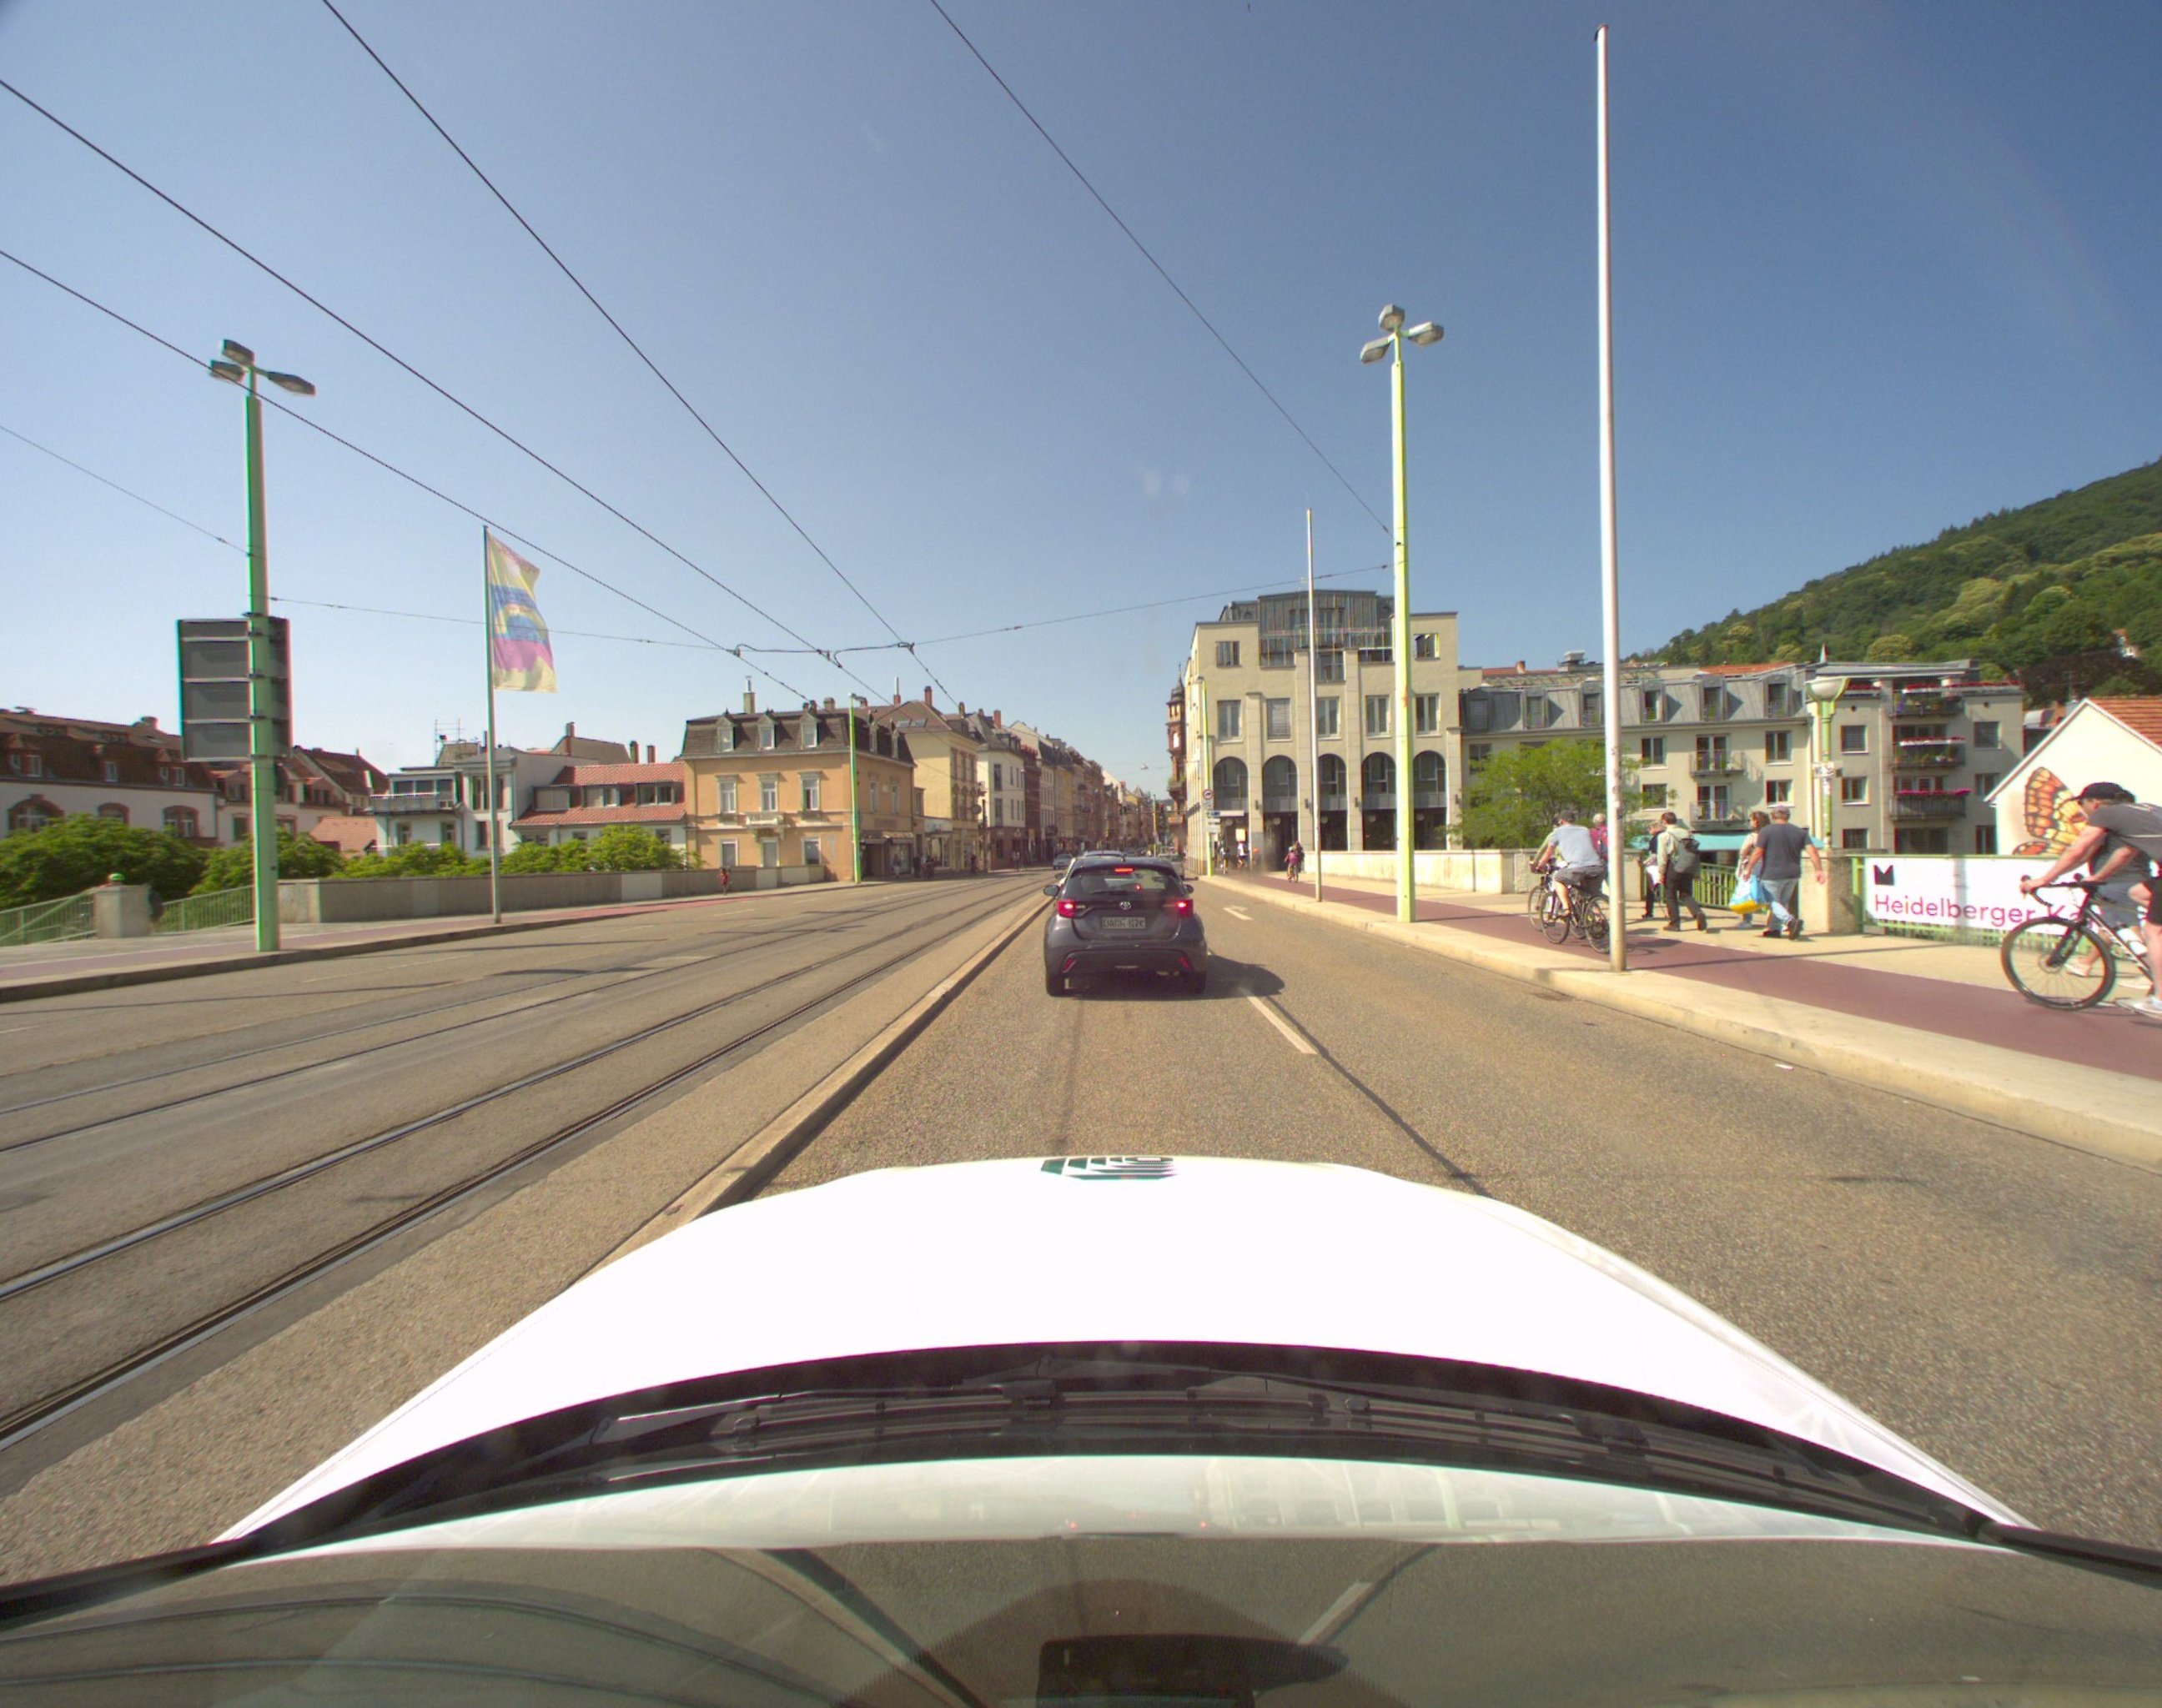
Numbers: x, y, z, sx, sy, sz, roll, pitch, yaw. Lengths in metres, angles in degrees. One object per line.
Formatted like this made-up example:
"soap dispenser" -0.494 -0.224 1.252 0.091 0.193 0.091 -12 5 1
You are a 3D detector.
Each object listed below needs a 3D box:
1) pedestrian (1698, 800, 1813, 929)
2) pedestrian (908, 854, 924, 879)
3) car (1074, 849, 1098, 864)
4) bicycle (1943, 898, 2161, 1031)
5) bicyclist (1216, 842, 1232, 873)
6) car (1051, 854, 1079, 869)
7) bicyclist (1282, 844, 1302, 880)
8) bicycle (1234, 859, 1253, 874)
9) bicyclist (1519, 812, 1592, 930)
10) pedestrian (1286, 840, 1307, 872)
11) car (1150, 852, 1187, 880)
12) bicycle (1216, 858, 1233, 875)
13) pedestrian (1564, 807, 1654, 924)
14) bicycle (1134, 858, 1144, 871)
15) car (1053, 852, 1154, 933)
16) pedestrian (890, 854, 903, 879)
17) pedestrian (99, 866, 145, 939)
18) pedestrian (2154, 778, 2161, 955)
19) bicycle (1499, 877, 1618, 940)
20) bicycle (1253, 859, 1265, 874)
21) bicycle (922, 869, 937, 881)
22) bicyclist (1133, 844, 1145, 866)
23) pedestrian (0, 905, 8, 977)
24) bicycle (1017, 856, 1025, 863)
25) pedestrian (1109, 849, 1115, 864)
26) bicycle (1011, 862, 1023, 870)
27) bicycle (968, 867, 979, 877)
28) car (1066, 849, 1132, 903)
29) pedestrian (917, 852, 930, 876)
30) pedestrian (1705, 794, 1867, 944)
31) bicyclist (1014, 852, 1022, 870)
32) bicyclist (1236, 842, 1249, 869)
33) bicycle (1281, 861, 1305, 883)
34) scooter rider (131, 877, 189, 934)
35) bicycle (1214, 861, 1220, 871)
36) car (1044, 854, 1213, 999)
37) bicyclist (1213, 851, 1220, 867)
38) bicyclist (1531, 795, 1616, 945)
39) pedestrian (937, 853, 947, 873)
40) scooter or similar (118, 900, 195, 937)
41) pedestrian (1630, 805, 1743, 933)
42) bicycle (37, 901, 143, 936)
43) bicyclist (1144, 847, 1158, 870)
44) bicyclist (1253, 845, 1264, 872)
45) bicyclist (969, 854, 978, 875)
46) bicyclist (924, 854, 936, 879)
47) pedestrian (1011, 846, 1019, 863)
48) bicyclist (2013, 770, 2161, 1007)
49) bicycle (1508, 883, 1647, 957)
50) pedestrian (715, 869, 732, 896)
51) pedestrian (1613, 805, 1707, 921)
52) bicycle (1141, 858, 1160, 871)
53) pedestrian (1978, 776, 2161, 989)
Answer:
"pedestrian" 9.658 0.145 11.712 0.736 1.746 1.016 -3 0 1
"pedestrian" -11.419 0.843 56.375 0.757 1.654 0.713 3 0 10
"car" 0.583 0.259 93.742 1.981 1.586 4.665 -2 0 10
"bicycle" 7.307 0.753 5.689 0.592 0.765 1.830 -3 0 -1
"bicyclist" 8.018 0.197 45.793 0.699 1.695 0.925 -2 0 2
"car" -1.548 0.712 79.650 1.720 1.460 4.387 -2 0 11
"bicyclist" 8.183 0.305 31.636 0.532 1.383 0.669 -3 0 1
"bicycle" 9.000 0.689 45.228 0.420 0.765 0.951 -3 0 -37
"bicyclist" 6.920 0.235 11.912 0.585 1.650 0.702 -3 0 -1
"pedestrian" 11.119 0.095 42.033 0.736 1.615 1.016 3 0 1
"car" 4.870 0.630 45.742 1.699 1.466 4.327 0 0 1
"bicycle" 8.045 0.700 45.758 0.701 0.882 1.526 -2 0 2
"pedestrian" 8.578 0.180 13.282 0.736 1.802 1.016 -3 0 1
"bicycle" 6.897 1.223 97.116 1.108 1.420 3.008 2 0 2
"car" 0.475 0.717 17.295 1.890 1.530 4.001 0 0 1
"pedestrian" -12.540 0.839 55.347 0.646 1.602 0.566 3 2 2
"pedestrian" -22.115 1.105 18.779 0.622 1.632 0.414 1 0 10
"pedestrian" 9.789 0.185 6.619 0.736 1.718 1.016 -2 0 1
"bicycle" 6.942 0.766 11.953 0.592 0.765 1.866 -3 0 -1
"bicycle" 9.470 0.684 43.389 0.415 0.765 0.962 -3 0 2
"bicycle" -9.986 1.370 53.831 0.618 0.716 1.772 0 1 2
"bicyclist" 6.881 0.158 96.753 1.222 2.529 1.106 3 0 4
"pedestrian" -27.261 2.176 19.993 0.741 1.781 0.803 -2 0 6
"bicycle" -6.325 0.606 85.870 0.618 0.716 1.772 -1 1 2
"pedestrian" 5.433 0.507 142.903 1.047 2.588 1.502 3 0 2
"bicycle" -6.081 1.122 77.979 0.616 0.716 2.051 0 1 11
"bicycle" -8.400 1.411 63.725 0.618 0.716 1.732 0 1 2
"car" 0.568 0.629 25.280 1.890 1.530 4.001 0 0 1
"pedestrian" -11.588 0.724 59.881 0.733 1.766 0.787 3 0 2
"pedestrian" 9.055 0.177 10.531 0.974 1.777 1.207 -3 0 1
"bicyclist" -6.072 0.648 78.001 0.623 1.650 0.623 0 1 10
"bicyclist" 8.971 0.081 45.232 0.487 1.466 0.438 -3 0 -38
"bicycle" 8.207 0.679 31.607 0.512 0.765 1.661 -3 0 2
"scooter rider" -22.565 1.254 19.962 0.763 1.315 0.600 3 0 13
"bicycle" 11.395 0.980 68.346 0.414 0.765 1.207 -3 0 5
"car" 0.528 0.740 10.144 1.713 1.473 3.659 0 0 1
"bicyclist" 11.377 0.441 68.377 0.535 1.316 0.673 -3 0 5
"bicyclist" 6.264 0.197 10.388 0.585 1.820 0.702 -2 0 -1
"pedestrian" -11.574 0.709 67.581 0.646 1.602 0.566 3 2 2
"scooter or similar" -22.600 1.568 19.924 0.774 0.782 0.964 3 0 13
"pedestrian" 8.683 0.207 11.721 0.752 1.718 1.073 -3 0 1
"bicycle" -22.443 1.455 18.446 1.916 0.716 0.624 0 1 9
"bicyclist" 7.715 0.490 89.937 1.229 2.529 1.100 3 0 -13
"bicyclist" 9.439 0.225 43.403 0.421 1.383 0.443 -3 0 1
"bicyclist" -8.389 0.837 63.724 0.625 1.650 0.622 0 1 2
"bicyclist" -9.985 0.838 53.785 0.625 1.650 0.622 0 1 2
"pedestrian" -7.018 0.094 86.143 0.733 1.766 0.787 -1 1 2
"bicyclist" 7.281 0.217 5.727 0.585 1.559 0.702 -3 0 -1
"bicycle" 6.290 0.802 10.450 0.592 0.765 1.866 -3 0 -1
"pedestrian" -15.641 1.251 35.623 0.409 1.146 0.546 3 0 8
"pedestrian" 9.406 0.134 13.275 0.736 1.777 1.016 -3 0 1
"bicycle" 7.681 1.141 90.017 1.113 1.420 2.993 2 0 -14
"pedestrian" 8.837 0.223 7.143 0.736 1.718 1.016 -3 0 1
